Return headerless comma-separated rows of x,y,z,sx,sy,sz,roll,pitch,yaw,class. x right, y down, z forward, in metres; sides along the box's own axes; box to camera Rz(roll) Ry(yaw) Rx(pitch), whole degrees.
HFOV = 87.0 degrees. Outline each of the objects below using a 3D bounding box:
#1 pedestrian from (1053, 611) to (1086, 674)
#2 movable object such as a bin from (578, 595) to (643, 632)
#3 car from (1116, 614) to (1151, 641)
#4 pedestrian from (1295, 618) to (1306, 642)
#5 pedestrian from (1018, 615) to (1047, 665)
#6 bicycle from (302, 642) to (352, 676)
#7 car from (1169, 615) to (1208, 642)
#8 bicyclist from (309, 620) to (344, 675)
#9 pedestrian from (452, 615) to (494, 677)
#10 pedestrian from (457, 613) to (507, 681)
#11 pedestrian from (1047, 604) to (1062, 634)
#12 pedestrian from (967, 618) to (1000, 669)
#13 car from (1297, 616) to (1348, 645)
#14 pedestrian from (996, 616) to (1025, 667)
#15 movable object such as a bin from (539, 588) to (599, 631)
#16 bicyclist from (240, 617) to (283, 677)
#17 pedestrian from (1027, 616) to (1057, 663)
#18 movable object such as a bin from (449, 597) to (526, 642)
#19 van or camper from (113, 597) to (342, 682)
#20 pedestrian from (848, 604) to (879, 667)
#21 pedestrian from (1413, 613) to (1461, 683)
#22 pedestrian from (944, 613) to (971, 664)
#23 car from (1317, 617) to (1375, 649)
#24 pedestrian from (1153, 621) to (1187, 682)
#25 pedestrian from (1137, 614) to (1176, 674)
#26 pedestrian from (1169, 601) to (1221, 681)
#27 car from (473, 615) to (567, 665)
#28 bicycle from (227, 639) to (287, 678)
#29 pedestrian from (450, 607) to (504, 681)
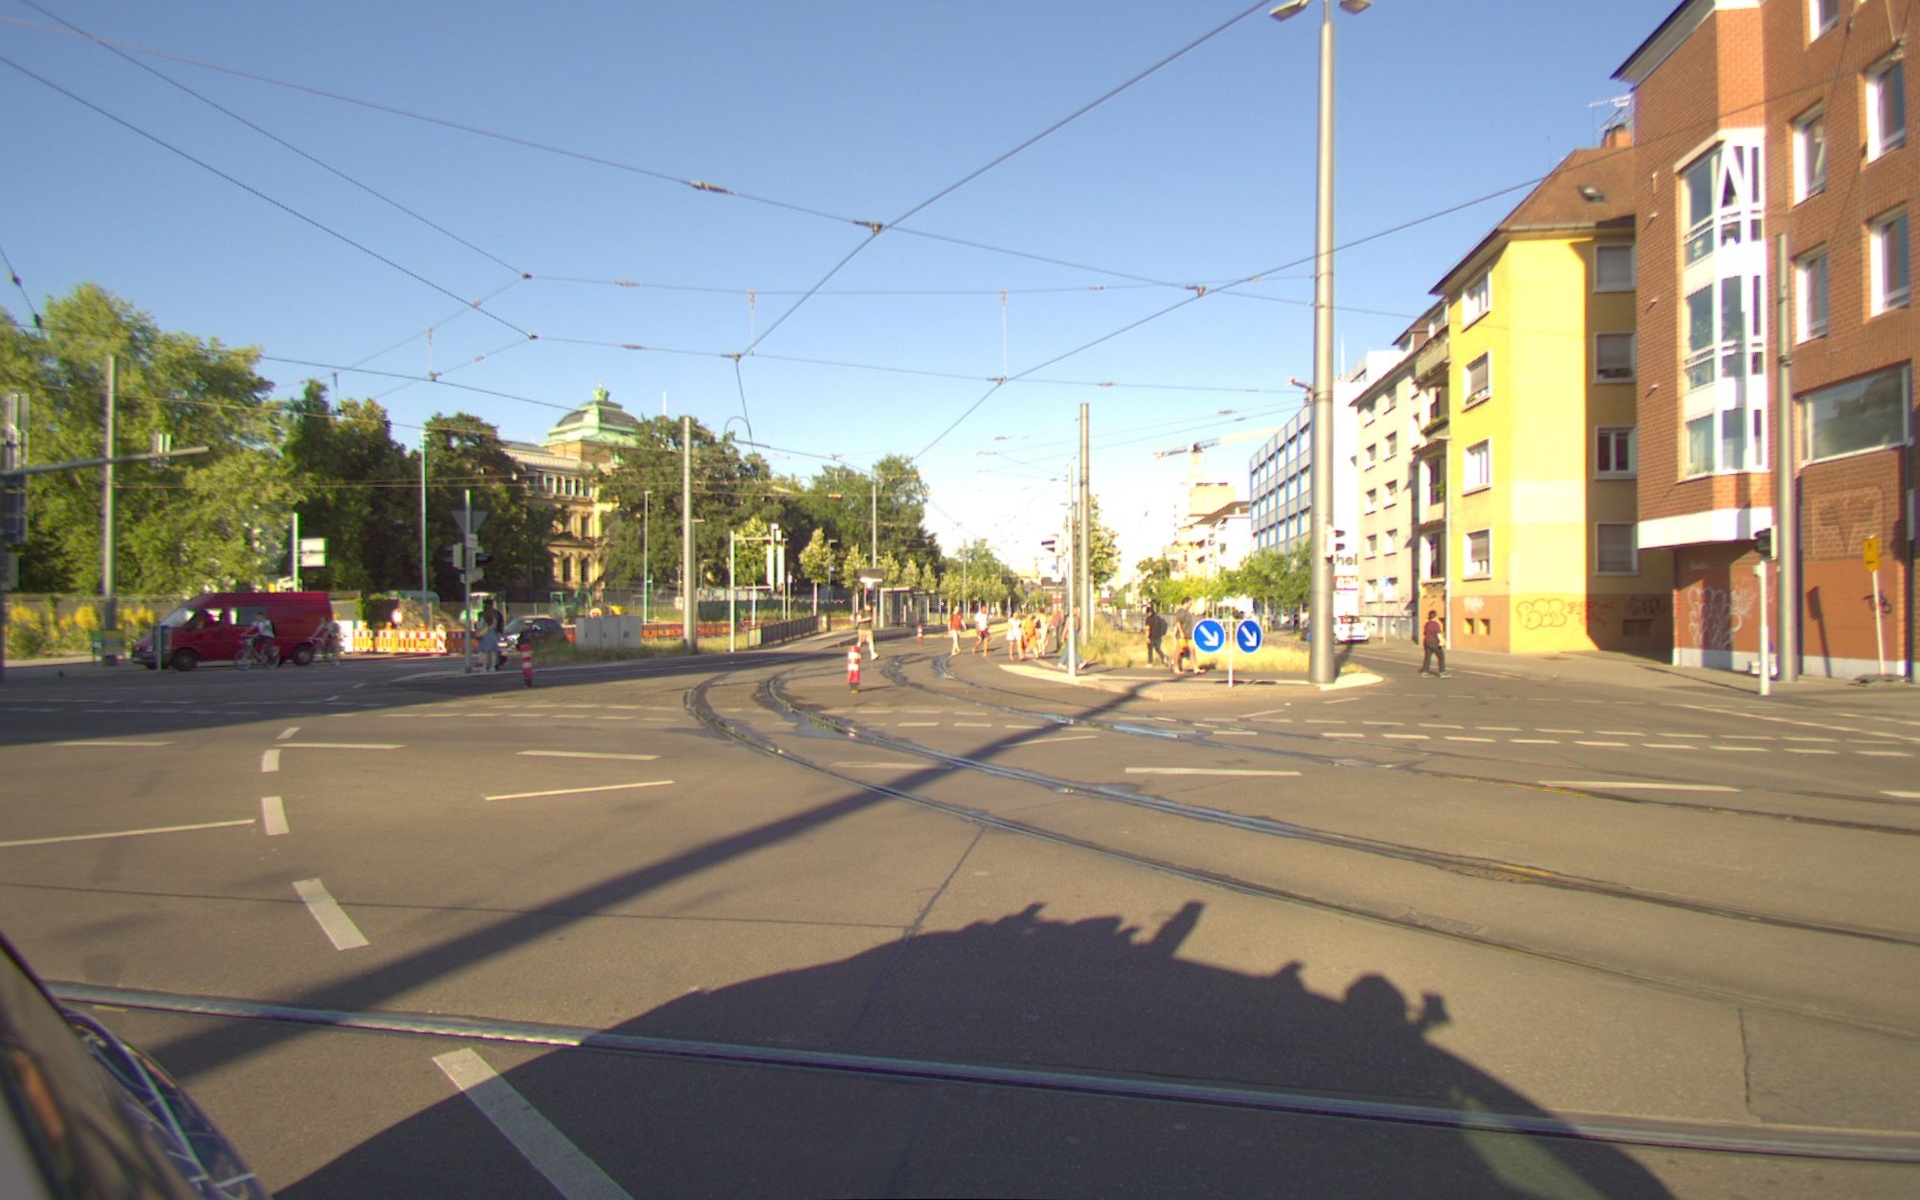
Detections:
2.751,1.065,25.404,0.615,1.547,0.783,-2,-1,20,pedestrian
-28.539,1.099,82.876,1.983,2.837,5.835,-2,-1,17,movable object such as a bin
10.699,1.696,62.609,1.864,1.519,3.935,-2,-1,6,car
24.951,2.196,74.229,0.639,1.759,0.596,-2,-1,14,pedestrian
2.139,1.188,29.920,0.627,1.443,0.526,-2,-1,-22,pedestrian
-20.841,1.925,33.360,0.536,1.009,1.692,-2,-1,2,bicycle
14.061,1.753,62.364,1.864,1.519,3.935,-2,-1,6,car
-20.823,1.537,33.284,0.607,1.759,0.791,-2,-1,2,bicyclist
-13.406,1.258,27.865,0.778,1.653,0.618,-2,-1,5,pedestrian
-12.069,1.179,25.551,0.787,1.653,0.888,-3,-1,41,pedestrian
5.535,1.103,59.293,0.779,1.685,0.617,-2,-1,10,pedestrian
0.743,1.367,32.143,0.774,1.561,0.621,1,-7,-32,pedestrian
20.564,1.731,57.601,1.864,1.519,3.667,-2,-1,6,car
1.480,1.212,29.787,0.627,1.467,0.526,-2,-1,-24,pedestrian
-32.226,0.757,83.562,1.979,3.355,5.356,-2,-1,11,movable object such as a bin
-21.435,1.433,31.077,0.536,1.781,1.060,-2,-1,2,bicyclist
2.860,1.379,35.130,0.682,1.596,0.832,-3,-1,34,pedestrian
-30.572,1.232,65.663,1.979,2.704,4.996,-2,-1,11,movable object such as a bin
-23.912,1.205,33.386,1.990,2.548,5.860,-3,-1,27,van or camper
-2.959,1.081,31.071,0.779,1.878,0.617,-2,-1,10,pedestrian
11.374,1.132,24.142,0.598,1.600,0.791,-2,-1,-22,pedestrian
-0.095,1.307,34.598,0.779,1.711,0.617,-2,-1,10,pedestrian
20.082,1.676,52.769,1.864,1.519,3.667,-2,-1,6,car
4.960,1.207,23.863,0.605,1.370,0.591,3,-1,27,pedestrian
5.461,1.214,28.165,0.829,1.596,0.684,-2,-1,-4,pedestrian
5.367,0.939,23.080,0.897,1.771,0.768,-3,-1,33,pedestrian
-19.336,1.737,44.659,1.977,2.029,3.990,-2,-1,8,car
-21.416,1.771,30.868,0.536,1.109,1.807,-2,-1,2,bicycle
-12.321,1.112,25.817,0.785,1.814,0.891,-1,1,31,pedestrian
